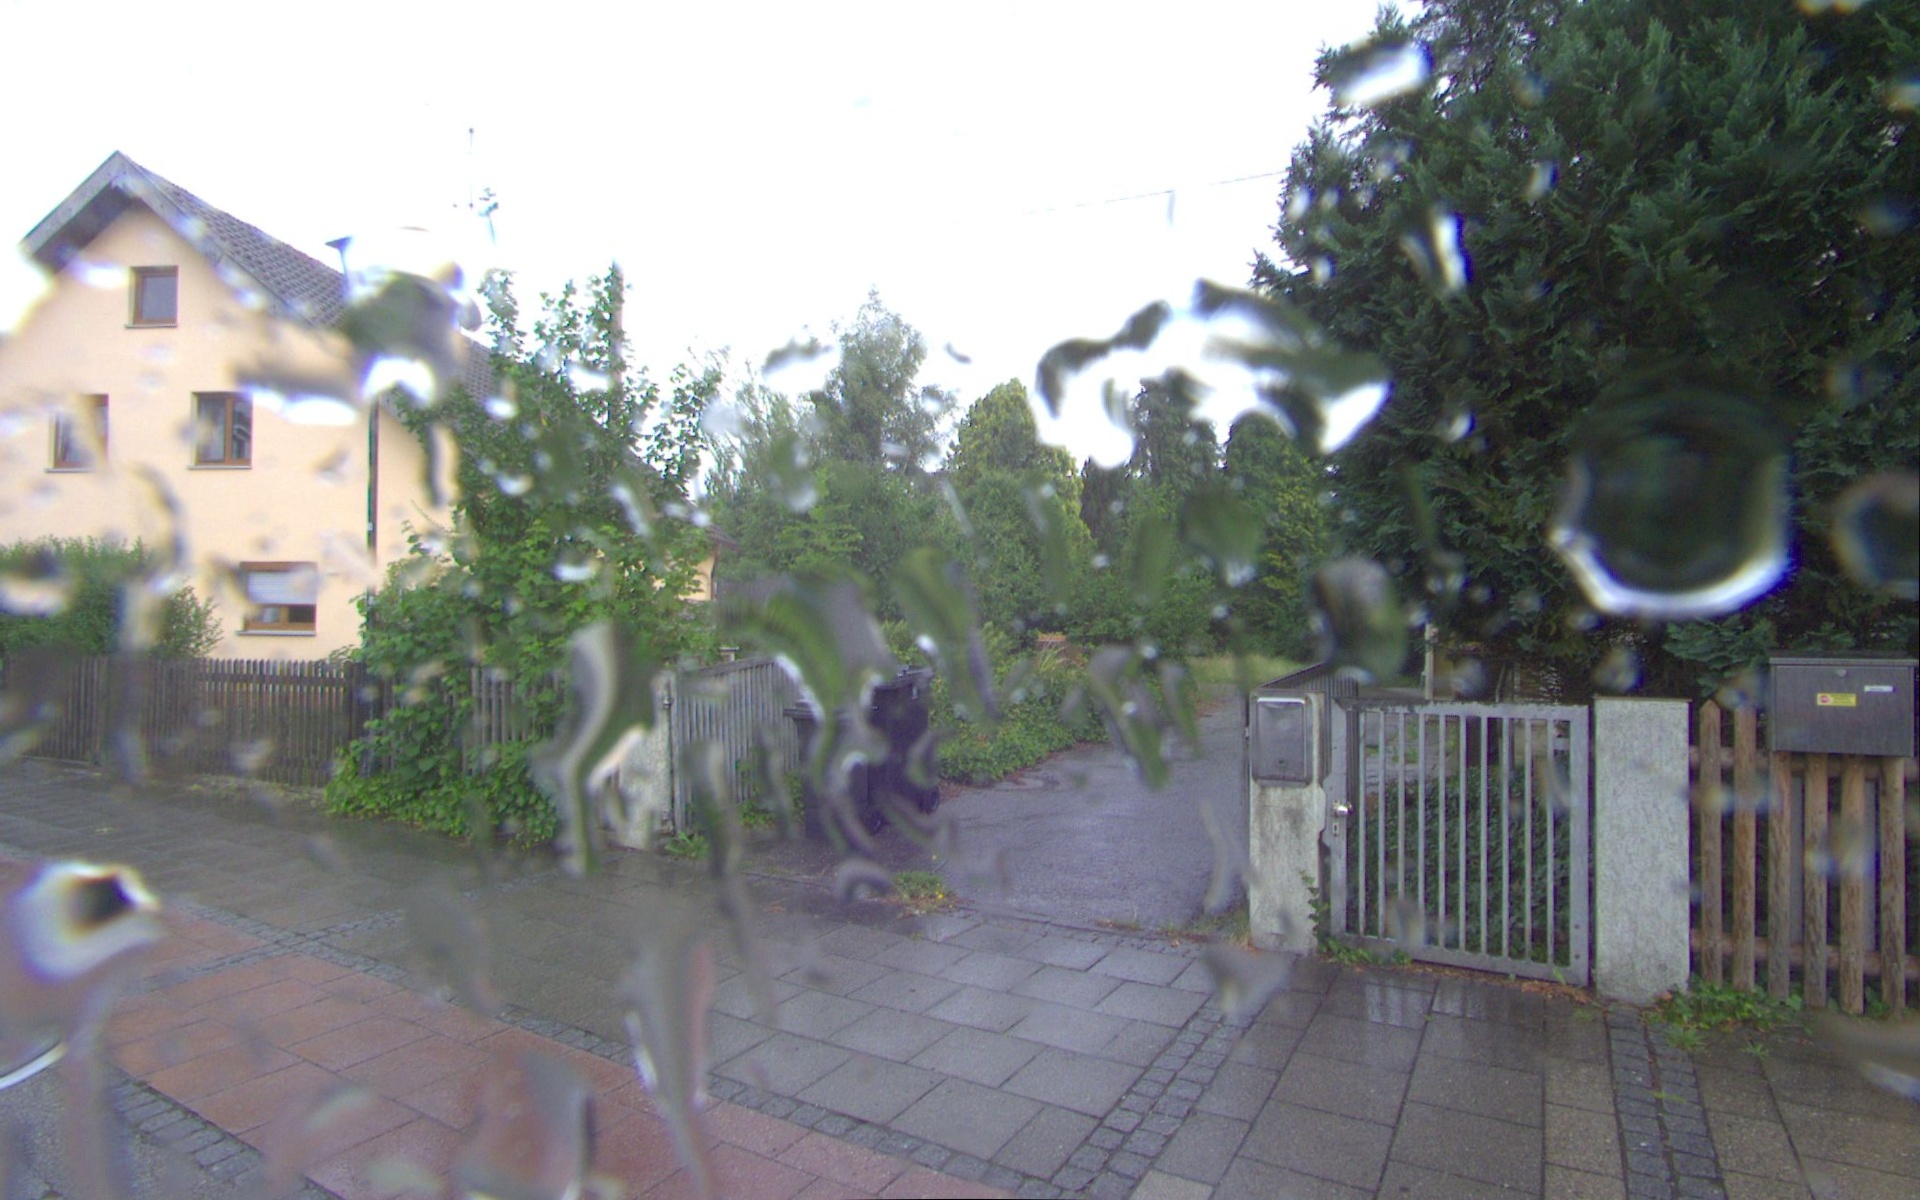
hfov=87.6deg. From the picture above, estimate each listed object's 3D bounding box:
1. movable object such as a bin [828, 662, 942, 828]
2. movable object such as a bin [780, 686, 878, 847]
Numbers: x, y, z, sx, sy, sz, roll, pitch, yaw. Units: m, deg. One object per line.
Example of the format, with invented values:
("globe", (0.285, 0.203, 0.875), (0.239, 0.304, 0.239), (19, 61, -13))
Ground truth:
("movable object such as a bin", (-0.518, 0.986, 7.025), (0.545, 1.054, 0.574), (-1, 1, 33))
("movable object such as a bin", (-0.845, 1.058, 6.494), (0.440, 0.948, 0.432), (-1, 1, 33))
